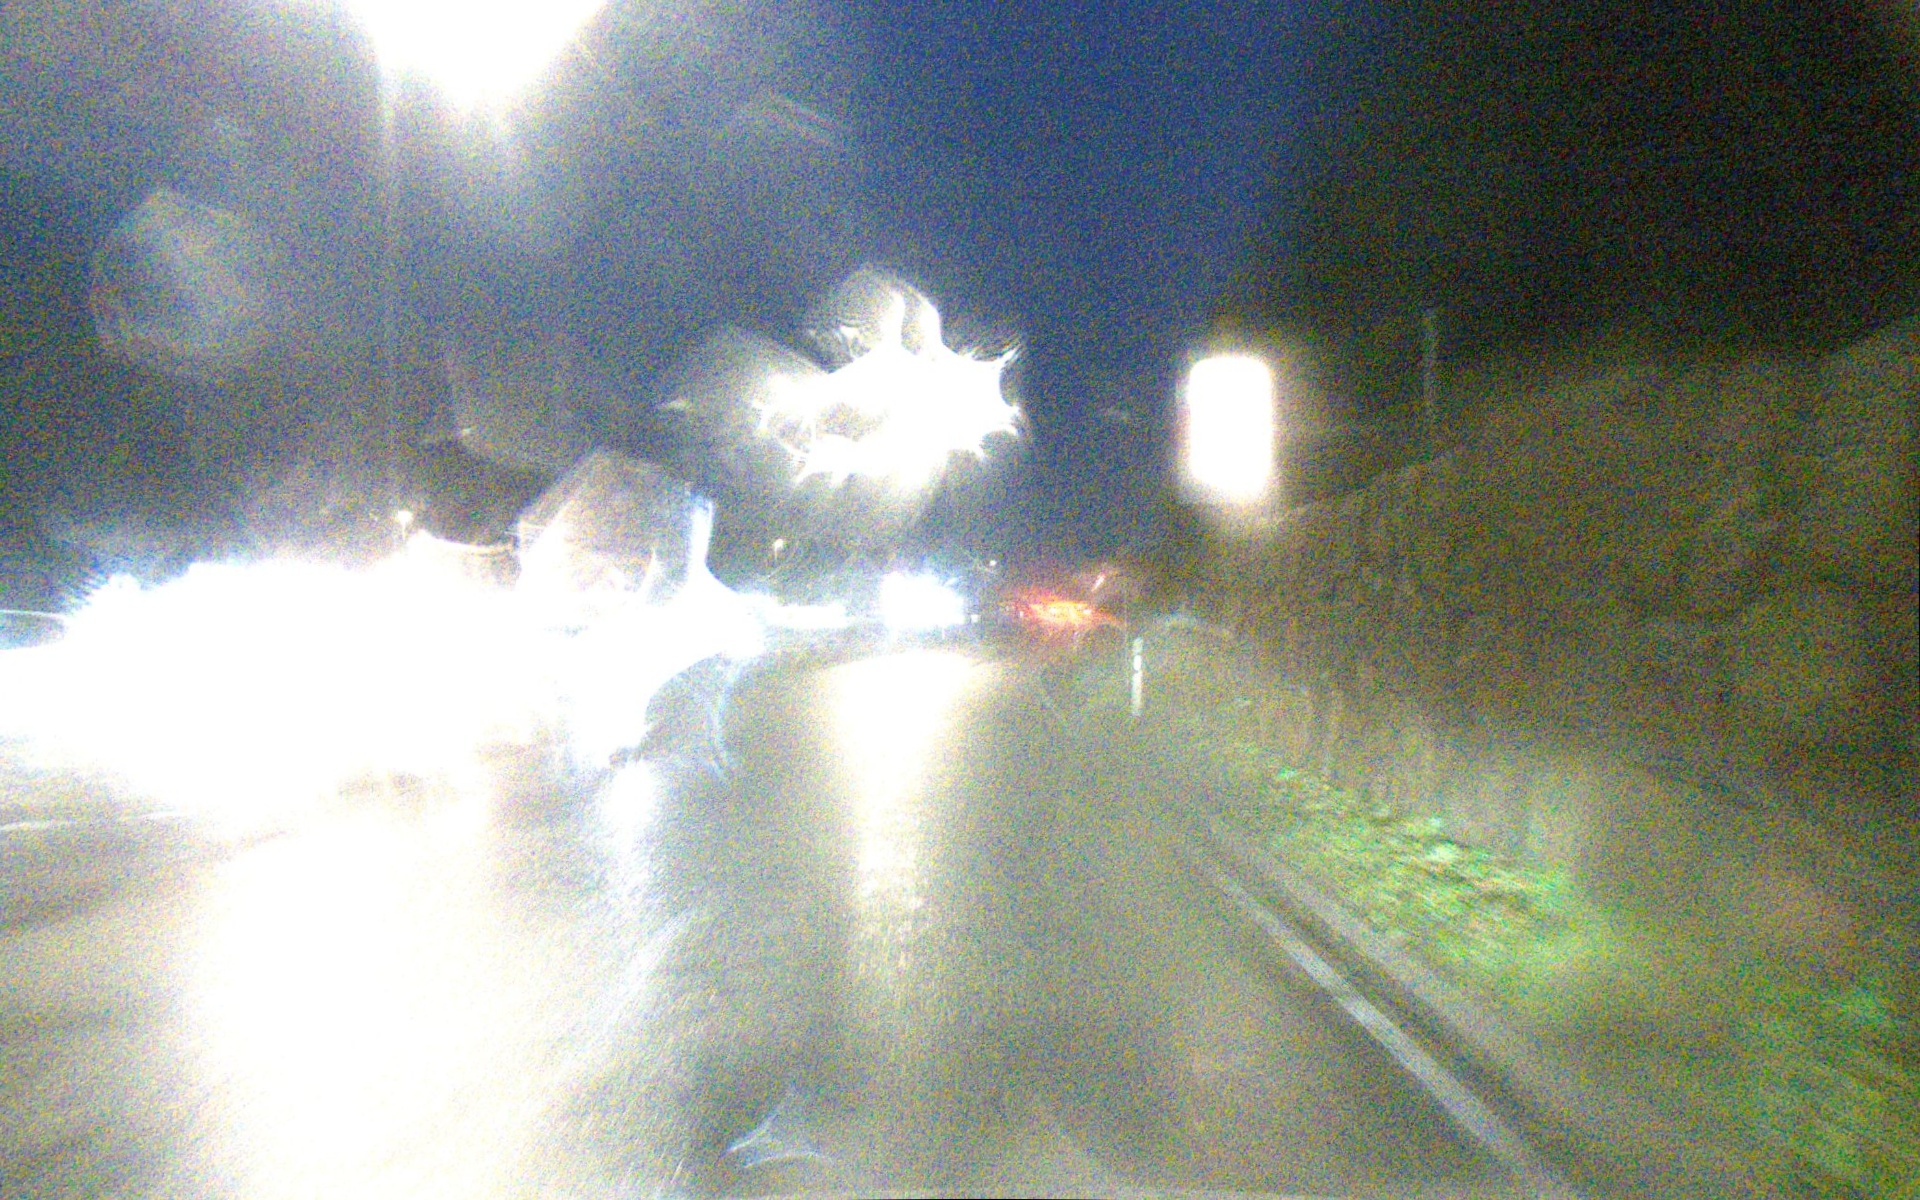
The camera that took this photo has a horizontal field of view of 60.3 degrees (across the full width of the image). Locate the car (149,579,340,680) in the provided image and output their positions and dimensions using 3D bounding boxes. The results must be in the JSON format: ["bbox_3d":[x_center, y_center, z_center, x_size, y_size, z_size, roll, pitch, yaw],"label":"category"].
[{"bbox_3d":[-13.112,0.564,30.587,1.954,1.750,3.997,0,-2,-3],"label":"car"}]

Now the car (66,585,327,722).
[{"bbox_3d":[-10.418,0.731,22.912,1.646,1.721,3.949,0,-2,2],"label":"car"}]

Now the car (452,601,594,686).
[{"bbox_3d":[-9.403,0.926,35.894,1.681,1.733,4.145,0,-1,4],"label":"car"}]

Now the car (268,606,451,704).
[{"bbox_3d":[-10.116,0.921,28.140,1.552,1.552,3.653,0,-2,4],"label":"car"}]

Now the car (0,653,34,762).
[{"bbox_3d":[-13.875,1.430,21.418,1.634,1.479,3.727,0,-2,0],"label":"car"}]

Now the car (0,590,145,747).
[{"bbox_3d":[-10.595,0.693,17.136,1.663,1.599,4.714,0,-1,4],"label":"car"}]

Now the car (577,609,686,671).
[{"bbox_3d":[-8.681,1.072,44.111,1.672,1.561,4.602,0,-2,4],"label":"car"}]
